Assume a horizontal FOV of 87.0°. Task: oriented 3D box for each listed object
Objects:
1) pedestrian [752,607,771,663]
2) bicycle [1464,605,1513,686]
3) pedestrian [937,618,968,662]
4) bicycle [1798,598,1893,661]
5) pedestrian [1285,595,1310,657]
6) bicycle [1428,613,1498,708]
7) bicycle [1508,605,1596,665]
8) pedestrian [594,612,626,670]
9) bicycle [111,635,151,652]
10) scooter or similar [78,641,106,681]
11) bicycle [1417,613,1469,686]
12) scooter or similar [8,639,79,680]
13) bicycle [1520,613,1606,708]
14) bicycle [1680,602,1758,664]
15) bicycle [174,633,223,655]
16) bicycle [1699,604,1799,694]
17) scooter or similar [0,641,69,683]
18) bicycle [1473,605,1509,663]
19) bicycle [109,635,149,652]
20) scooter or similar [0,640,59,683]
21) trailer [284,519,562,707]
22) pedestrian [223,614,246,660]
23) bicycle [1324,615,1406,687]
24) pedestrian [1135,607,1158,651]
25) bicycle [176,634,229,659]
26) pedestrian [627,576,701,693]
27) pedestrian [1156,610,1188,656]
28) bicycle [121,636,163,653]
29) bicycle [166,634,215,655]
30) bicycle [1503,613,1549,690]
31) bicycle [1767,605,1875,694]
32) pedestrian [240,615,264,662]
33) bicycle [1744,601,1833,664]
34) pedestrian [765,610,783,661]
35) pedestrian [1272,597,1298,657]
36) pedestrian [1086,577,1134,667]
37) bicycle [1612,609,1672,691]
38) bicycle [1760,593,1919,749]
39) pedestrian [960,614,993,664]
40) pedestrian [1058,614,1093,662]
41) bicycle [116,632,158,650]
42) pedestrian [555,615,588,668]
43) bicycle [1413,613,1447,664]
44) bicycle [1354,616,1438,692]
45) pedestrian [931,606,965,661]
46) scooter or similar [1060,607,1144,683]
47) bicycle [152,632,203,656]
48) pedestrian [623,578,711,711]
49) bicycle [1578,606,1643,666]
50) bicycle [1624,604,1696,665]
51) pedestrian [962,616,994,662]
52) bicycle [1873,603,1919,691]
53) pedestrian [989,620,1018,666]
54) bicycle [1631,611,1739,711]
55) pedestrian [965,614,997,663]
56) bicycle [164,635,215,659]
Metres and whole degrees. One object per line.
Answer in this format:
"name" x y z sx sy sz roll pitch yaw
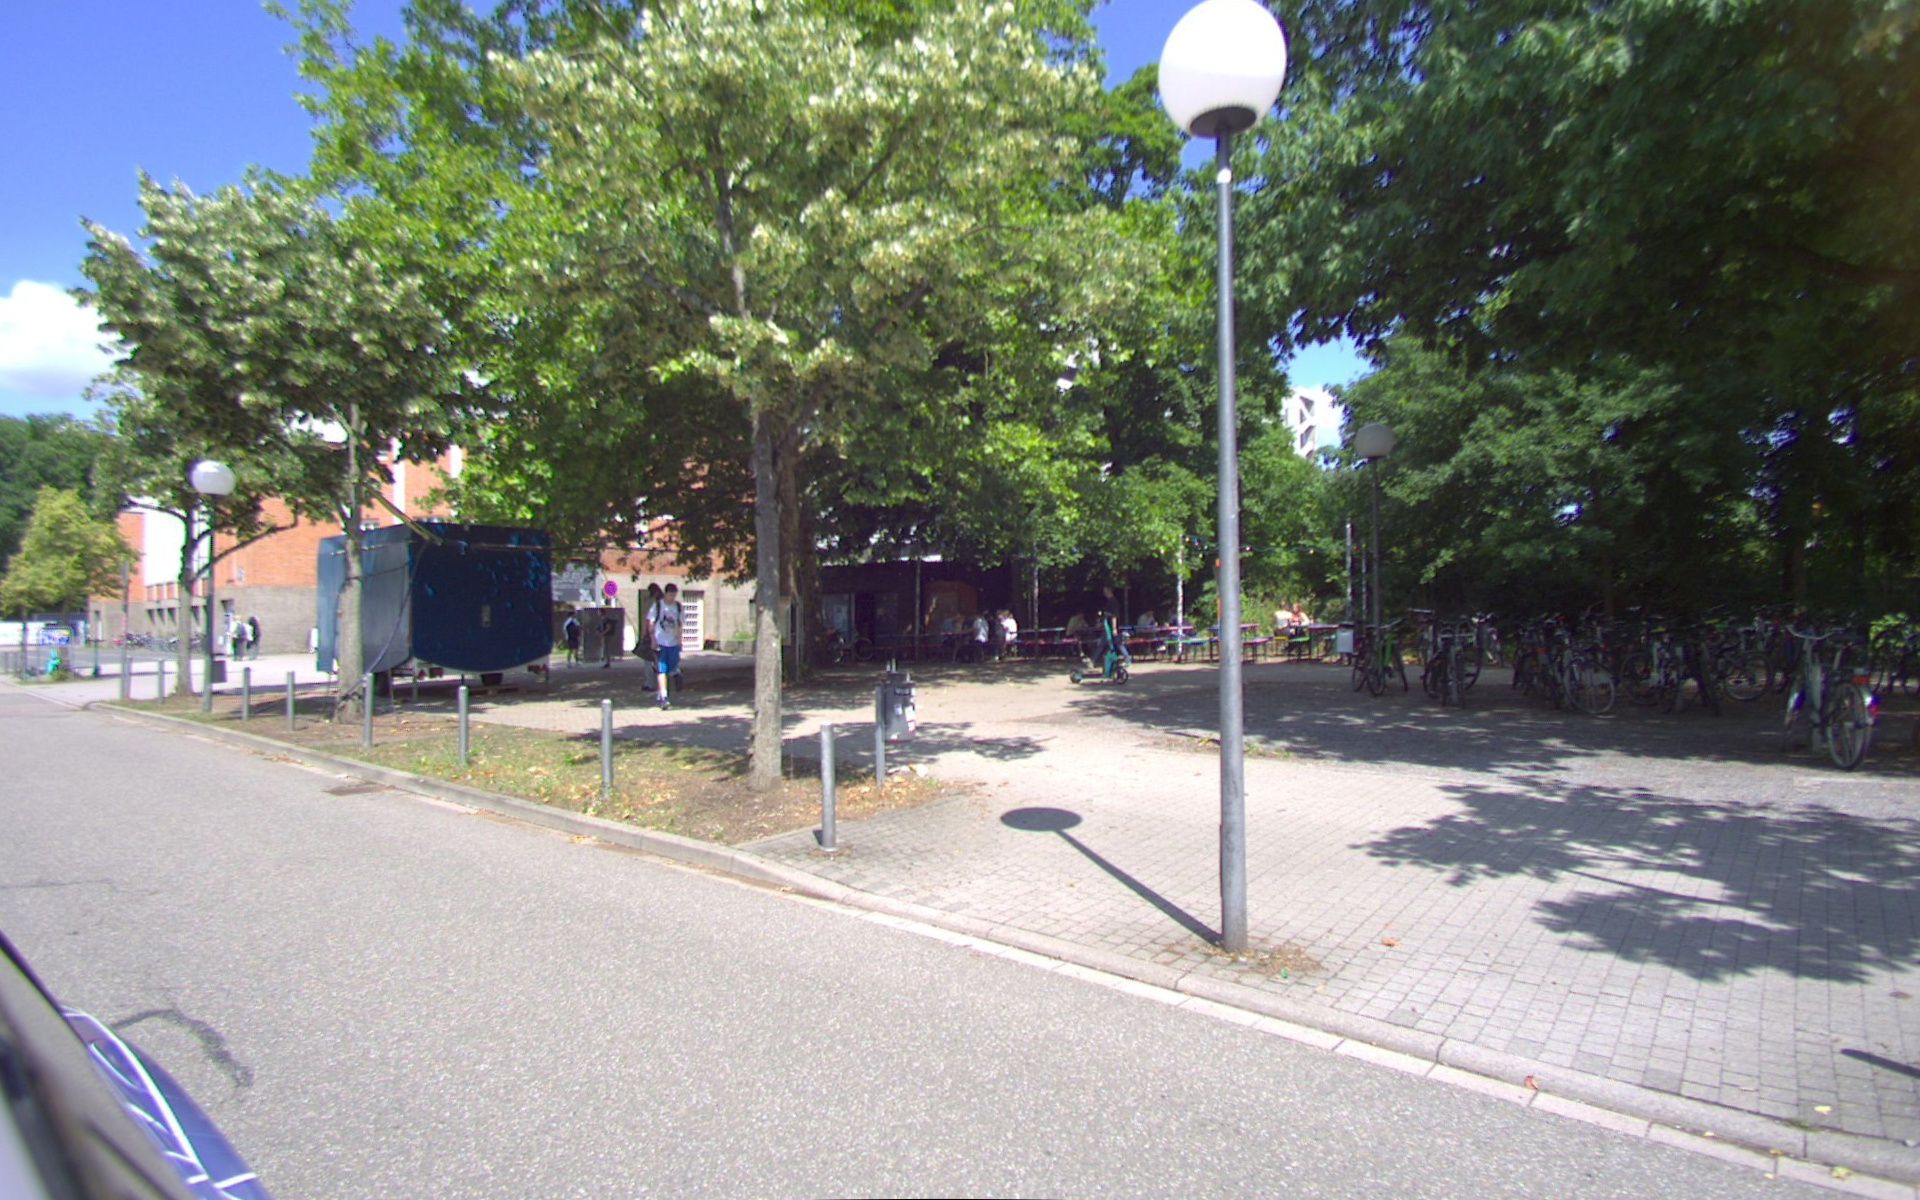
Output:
"pedestrian" -6.208 1.090 31.658 0.441 1.723 0.531 -2 -1 -3
"bicycle" 7.977 0.652 15.255 0.535 1.134 1.947 -2 -1 30
"pedestrian" -0.213 1.167 29.700 0.693 1.281 0.554 -2 -1 42
"bicycle" 16.318 0.518 18.698 0.592 1.099 1.946 0 0 18
"pedestrian" 8.455 0.655 25.360 0.472 1.534 0.502 -2 -1 30
"bicycle" 6.411 0.737 12.966 0.543 1.097 1.849 -2 -1 20
"bicycle" 11.373 0.645 19.521 0.589 1.099 1.957 0 0 2
"pedestrian" -10.268 1.192 29.714 0.643 1.678 0.623 -2 -1 42
"bicycle" -52.692 2.770 64.346 0.518 1.038 1.931 -2 -2 40
"scooter or similar" -26.580 1.854 30.994 0.556 1.158 1.352 0 -1 -37
"bicycle" 7.407 0.727 15.489 0.535 1.011 1.947 -2 -1 30
"scooter or similar" -28.955 1.874 32.003 1.548 1.234 0.572 0 -1 -22
"bicycle" 7.587 0.724 12.801 0.543 1.097 1.849 -2 -1 20
"bicycle" 14.430 0.602 19.295 0.592 1.099 1.946 0 0 18
"bicycle" -40.085 2.315 53.288 0.621 1.090 1.989 -2 -2 40
"bicycle" 10.435 0.617 13.447 0.534 1.097 1.952 -2 -1 23
"scooter or similar" -28.593 1.903 31.216 1.548 1.234 0.567 0 -1 -22
"bicycle" 10.611 0.654 20.239 0.594 1.099 1.940 0 0 28
"bicycle" -53.228 2.788 64.831 0.541 1.038 1.931 -2 -2 40
"scooter or similar" -28.313 1.849 30.578 1.548 1.234 0.526 0 -1 -22
"trailer" -10.531 0.272 19.572 6.263 3.049 2.668 -2 -1 41
"pedestrian" -28.347 1.426 39.553 0.805 1.775 0.557 -2 -1 40
"bicycle" 6.326 0.770 15.770 0.537 1.022 1.783 -2 -1 43
"pedestrian" 4.984 0.775 27.069 0.505 1.148 0.333 -2 -1 30
"bicycle" -37.395 2.286 49.980 0.666 1.134 2.001 -2 -2 40
"pedestrian" -5.206 0.582 17.800 0.906 1.969 0.894 -3 1 -39
"pedestrian" 5.602 0.876 26.759 0.728 1.203 0.388 -2 -1 32
"bicycle" -49.681 2.693 61.501 0.568 0.948 1.931 -2 -2 40
"bicycle" -41.395 2.362 54.443 0.663 1.069 2.001 -2 -2 40
"bicycle" 8.425 0.729 15.039 0.535 1.035 1.947 -2 -1 30
"bicycle" 11.568 0.633 13.656 0.544 1.097 1.951 -2 -1 24
"pedestrian" -27.974 1.517 39.989 0.917 1.793 0.570 -2 -1 41
"bicycle" 15.352 0.577 18.805 0.592 1.099 1.946 0 0 18
"pedestrian" -5.927 1.128 32.252 0.407 1.605 0.606 -2 -1 -1
"pedestrian" 7.882 0.650 24.556 0.458 1.433 0.501 -2 -1 31
"pedestrian" 3.204 0.468 21.629 0.805 1.862 0.524 -2 -1 42
"bicycle" 9.498 0.665 14.139 0.535 1.035 1.947 -2 -1 30
"bicycle" 7.173 0.524 8.313 0.456 1.140 1.765 -2 -1 23
"pedestrian" 0.434 0.994 25.998 0.734 1.243 0.594 -3 -1 7
"pedestrian" 3.111 1.029 27.304 0.764 1.260 0.565 -2 -1 30
"bicycle" -50.967 2.535 62.690 0.530 1.038 1.931 -2 -2 40
"pedestrian" -11.320 1.203 29.484 0.499 1.521 0.735 -2 -1 42
"bicycle" 9.593 0.759 20.639 0.544 0.949 1.866 0 0 28
"bicycle" 6.418 0.764 14.866 0.537 1.022 1.783 -2 -1 43
"pedestrian" -0.312 0.863 26.431 0.734 1.379 0.594 -3 -1 7
"scooter or similar" 2.442 0.757 17.474 1.241 1.255 0.691 -2 -1 41
"bicycle" -39.704 2.230 51.381 0.439 1.134 1.999 -2 0 45
"pedestrian" -4.239 0.622 14.645 0.986 1.844 0.791 -2 -1 42
"bicycle" 12.634 0.671 19.701 0.592 1.099 1.946 0 0 18
"bicycle" 13.353 0.633 19.353 0.592 1.099 1.946 0 0 18
"pedestrian" 0.508 1.106 29.049 0.693 1.281 0.554 -2 -1 42
"bicycle" 12.612 0.599 13.108 0.544 1.097 1.951 -2 -1 24
"pedestrian" 1.289 1.253 29.915 0.559 1.333 0.638 -2 -2 42
"bicycle" 8.720 0.694 12.247 0.543 1.097 1.849 -2 -1 20
"pedestrian" 0.552 0.997 26.609 0.734 1.243 0.594 -3 -1 7
"bicycle" -38.955 2.375 51.192 0.592 1.134 2.000 -2 -2 42
